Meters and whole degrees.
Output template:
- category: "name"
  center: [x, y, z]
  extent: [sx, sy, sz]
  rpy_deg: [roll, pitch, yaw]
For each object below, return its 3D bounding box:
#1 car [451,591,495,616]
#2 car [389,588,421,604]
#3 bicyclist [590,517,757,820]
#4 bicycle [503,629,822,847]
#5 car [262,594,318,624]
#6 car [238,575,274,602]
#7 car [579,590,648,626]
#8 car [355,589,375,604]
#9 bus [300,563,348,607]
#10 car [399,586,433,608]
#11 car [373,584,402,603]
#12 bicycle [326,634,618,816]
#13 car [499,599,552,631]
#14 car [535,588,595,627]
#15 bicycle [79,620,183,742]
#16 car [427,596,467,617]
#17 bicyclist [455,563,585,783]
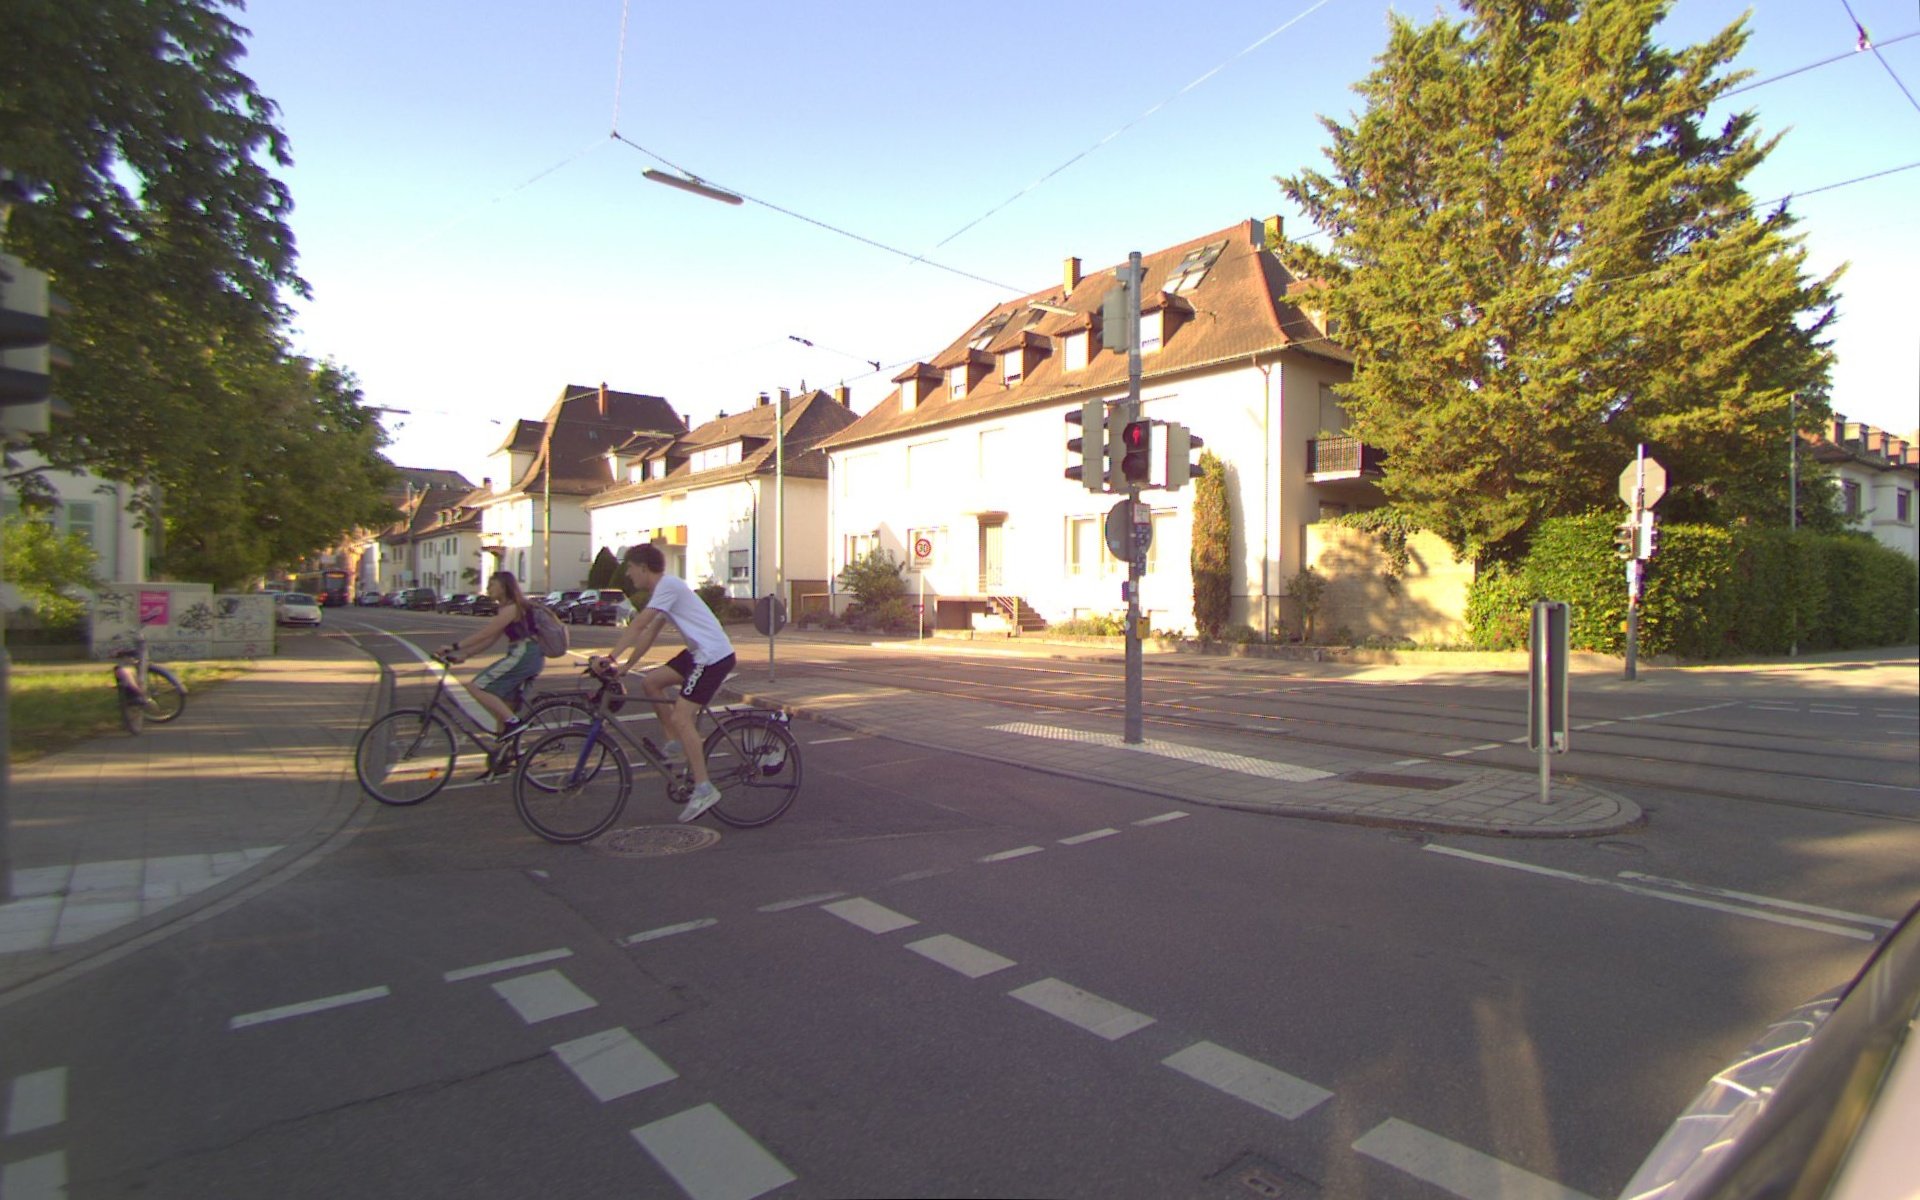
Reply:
- category: "car"
  center: [-33.795, 0.241, 70.221]
  extent: [1.963, 1.648, 3.997]
  rpy_deg: [0, 0, -37]
- category: "car"
  center: [-50.320, -0.375, 91.652]
  extent: [1.963, 1.460, 3.998]
  rpy_deg: [0, 0, -37]
- category: "bicyclist"
  center: [-1.836, 0.401, 6.435]
  extent: [0.875, 1.754, 0.818]
  rpy_deg: [0, -2, -27]
- category: "bicycle"
  center: [-1.859, 0.797, 6.396]
  extent: [1.866, 1.199, 0.575]
  rpy_deg: [0, -2, -26]
- category: "car"
  center: [-31.708, 0.405, 47.850]
  extent: [1.963, 1.326, 3.998]
  rpy_deg: [0, 0, -37]
- category: "car"
  center: [-56.314, -0.886, 80.941]
  extent: [1.965, 2.039, 3.993]
  rpy_deg: [0, -1, -40]
- category: "car"
  center: [-16.522, 0.358, 48.169]
  extent: [1.963, 1.616, 3.998]
  rpy_deg: [1, 0, -37]
- category: "car"
  center: [-62.859, -0.345, 106.895]
  extent: [1.454, 1.467, 3.437]
  rpy_deg: [0, -1, -37]
- category: "bus"
  center: [-62.599, -1.348, 99.451]
  extent: [2.813, 3.876, 13.313]
  rpy_deg: [0, -1, -37]
- category: "car"
  center: [-46.922, -0.280, 87.202]
  extent: [1.963, 1.794, 3.998]
  rpy_deg: [1, 0, -37]
- category: "car"
  center: [-56.666, -0.647, 100.161]
  extent: [1.963, 1.750, 3.996]
  rpy_deg: [0, -1, -37]
- category: "bicycle"
  center: [-3.612, 0.889, 7.638]
  extent: [1.923, 1.199, 0.493]
  rpy_deg: [-1, -1, -21]
- category: "car"
  center: [-25.822, 0.853, 60.060]
  extent: [1.963, 1.792, 3.998]
  rpy_deg: [1, 0, -37]
- category: "car"
  center: [-21.462, 0.391, 54.908]
  extent: [1.963, 1.905, 3.998]
  rpy_deg: [2, 0, -37]
- category: "bicycle"
  center: [-8.369, 0.784, 10.261]
  extent: [0.458, 1.103, 1.529]
  rpy_deg: [4, -1, -28]
- category: "car"
  center: [-38.038, 0.489, 74.982]
  extent: [1.963, 1.483, 3.996]
  rpy_deg: [0, -2, -37]
- category: "bicyclist"
  center: [-3.353, 0.523, 7.775]
  extent: [0.875, 1.582, 0.716]
  rpy_deg: [0, -1, -21]
